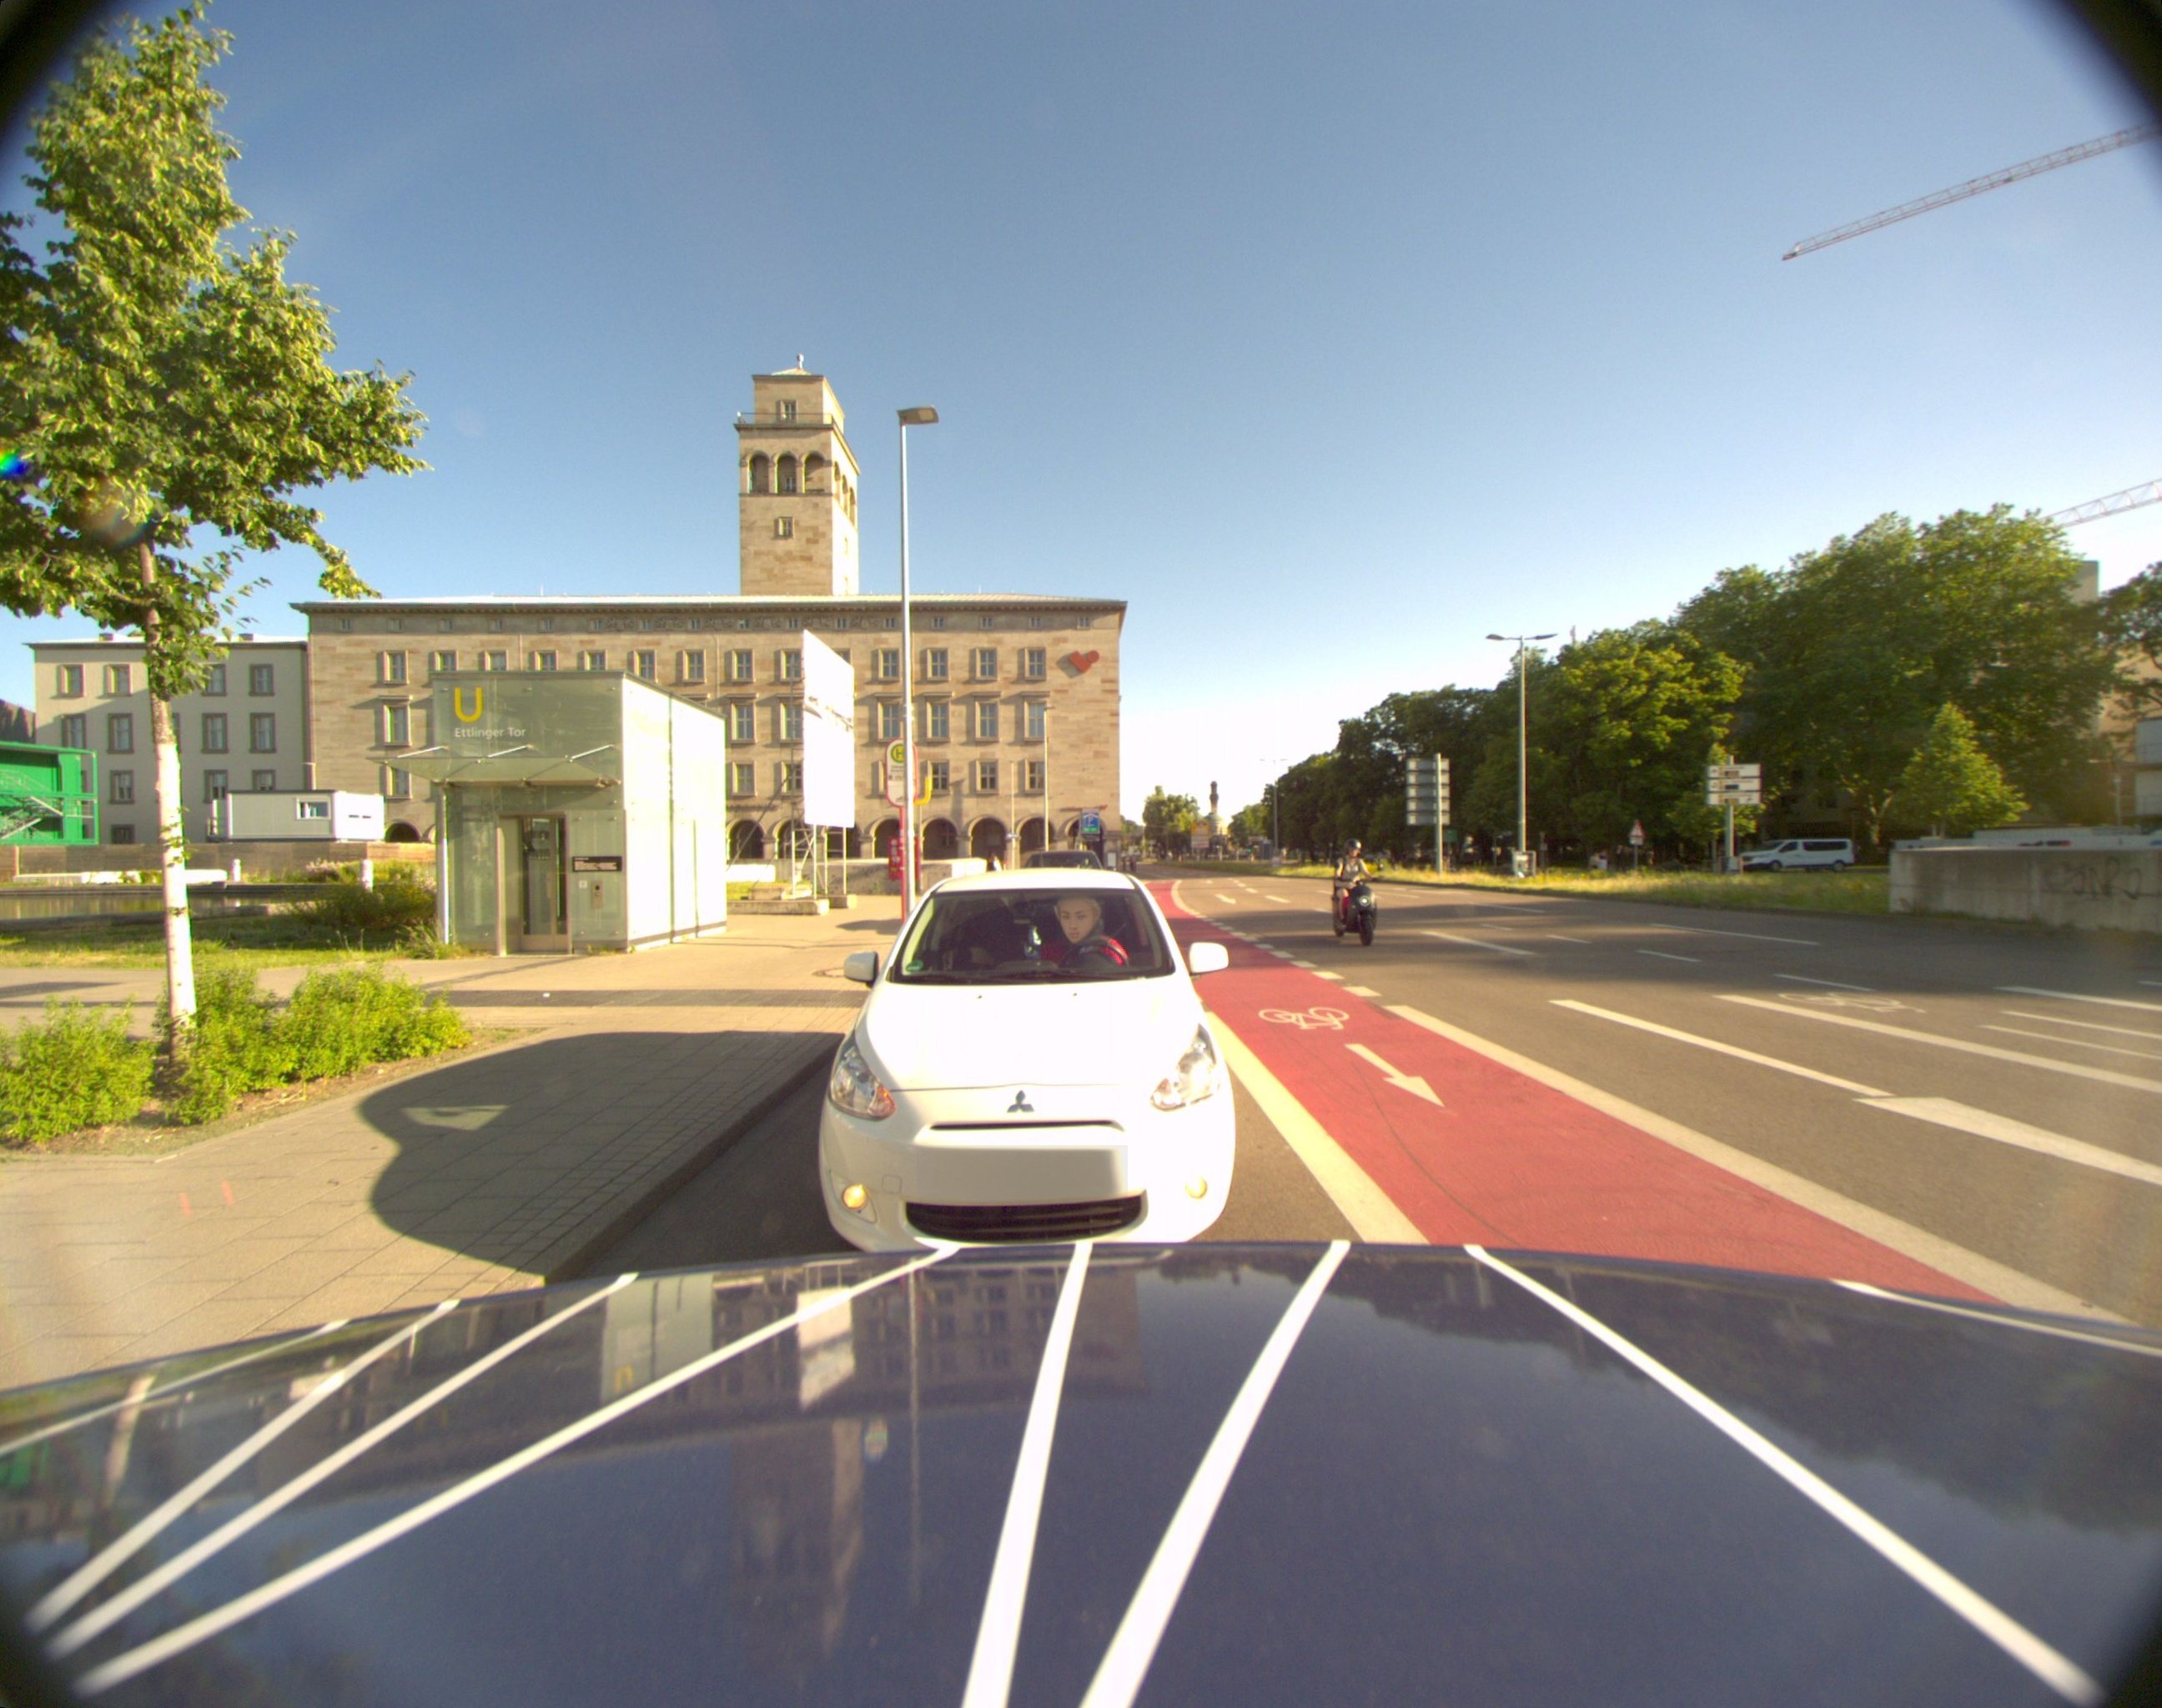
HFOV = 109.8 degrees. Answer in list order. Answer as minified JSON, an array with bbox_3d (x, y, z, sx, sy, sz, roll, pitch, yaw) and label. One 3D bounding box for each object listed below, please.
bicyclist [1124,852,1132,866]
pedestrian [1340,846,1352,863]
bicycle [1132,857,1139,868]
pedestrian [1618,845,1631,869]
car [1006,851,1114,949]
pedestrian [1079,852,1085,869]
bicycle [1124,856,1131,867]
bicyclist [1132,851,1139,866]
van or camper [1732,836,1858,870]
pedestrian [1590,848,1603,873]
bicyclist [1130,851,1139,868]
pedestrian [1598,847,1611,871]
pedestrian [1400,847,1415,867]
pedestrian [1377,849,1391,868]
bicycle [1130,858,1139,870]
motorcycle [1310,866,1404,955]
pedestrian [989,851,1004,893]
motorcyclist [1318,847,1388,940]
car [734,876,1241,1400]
[{"bbox_3d":[5.271,0.534,84.818,0.823,1.568,0.877,-1,1,1],"label":"bicyclist"},{"bbox_3d":[32.622,0.039,93.475,0.841,2.002,0.955,-3,1,-25],"label":"pedestrian"},{"bbox_3d":[6.086,0.893,84.750,0.689,1.185,1.506,-1,1,1],"label":"bicycle"},{"bbox_3d":[34.062,0.166,47.631,0.499,1.502,0.494,-1,1,1],"label":"pedestrian"},{"bbox_3d":[-0.329,0.782,15.016,1.833,1.660,4.000,-1,0,1],"label":"car"},{"bbox_3d":[0.132,0.806,94.374,0.612,2.002,0.727,-2,1,0],"label":"pedestrian"},{"bbox_3d":[5.241,0.875,84.838,0.689,1.185,1.506,-1,1,1],"label":"bicycle"},{"bbox_3d":[6.070,0.492,84.720,0.674,1.649,0.877,-1,1,1],"label":"bicyclist"},{"bbox_3d":[42.238,-0.052,45.055,5.499,1.934,1.951,-1,0,4],"label":"van or camper"},{"bbox_3d":[32.130,0.410,47.361,0.499,1.502,0.494,-1,1,1],"label":"pedestrian"},{"bbox_3d":[5.299,0.514,74.876,0.807,1.690,0.852,-1,1,1],"label":"bicyclist"},{"bbox_3d":[32.692,0.294,47.447,0.499,1.502,0.494,-1,1,1],"label":"pedestrian"},{"bbox_3d":[32.529,0.302,75.672,1.126,1.952,0.815,-2,1,1],"label":"pedestrian"},{"bbox_3d":[32.457,0.495,81.351,0.951,1.952,1.058,-2,1,-14],"label":"pedestrian"},{"bbox_3d":[5.276,0.988,74.967,0.741,1.140,1.890,-1,0,1],"label":"bicycle"},{"bbox_3d":[4.397,0.854,12.283,0.828,1.273,1.944,-1,0,1],"label":"motorcycle"},{"bbox_3d":[-3.494,0.737,31.374,0.552,1.692,0.553,-1,1,-1],"label":"pedestrian"},{"bbox_3d":[4.422,0.622,12.391,0.823,1.455,0.877,-1,1,1],"label":"motorcyclist"},{"bbox_3d":[-0.256,0.927,4.303,1.519,1.447,4.000,-1,0,1],"label":"car"}]
